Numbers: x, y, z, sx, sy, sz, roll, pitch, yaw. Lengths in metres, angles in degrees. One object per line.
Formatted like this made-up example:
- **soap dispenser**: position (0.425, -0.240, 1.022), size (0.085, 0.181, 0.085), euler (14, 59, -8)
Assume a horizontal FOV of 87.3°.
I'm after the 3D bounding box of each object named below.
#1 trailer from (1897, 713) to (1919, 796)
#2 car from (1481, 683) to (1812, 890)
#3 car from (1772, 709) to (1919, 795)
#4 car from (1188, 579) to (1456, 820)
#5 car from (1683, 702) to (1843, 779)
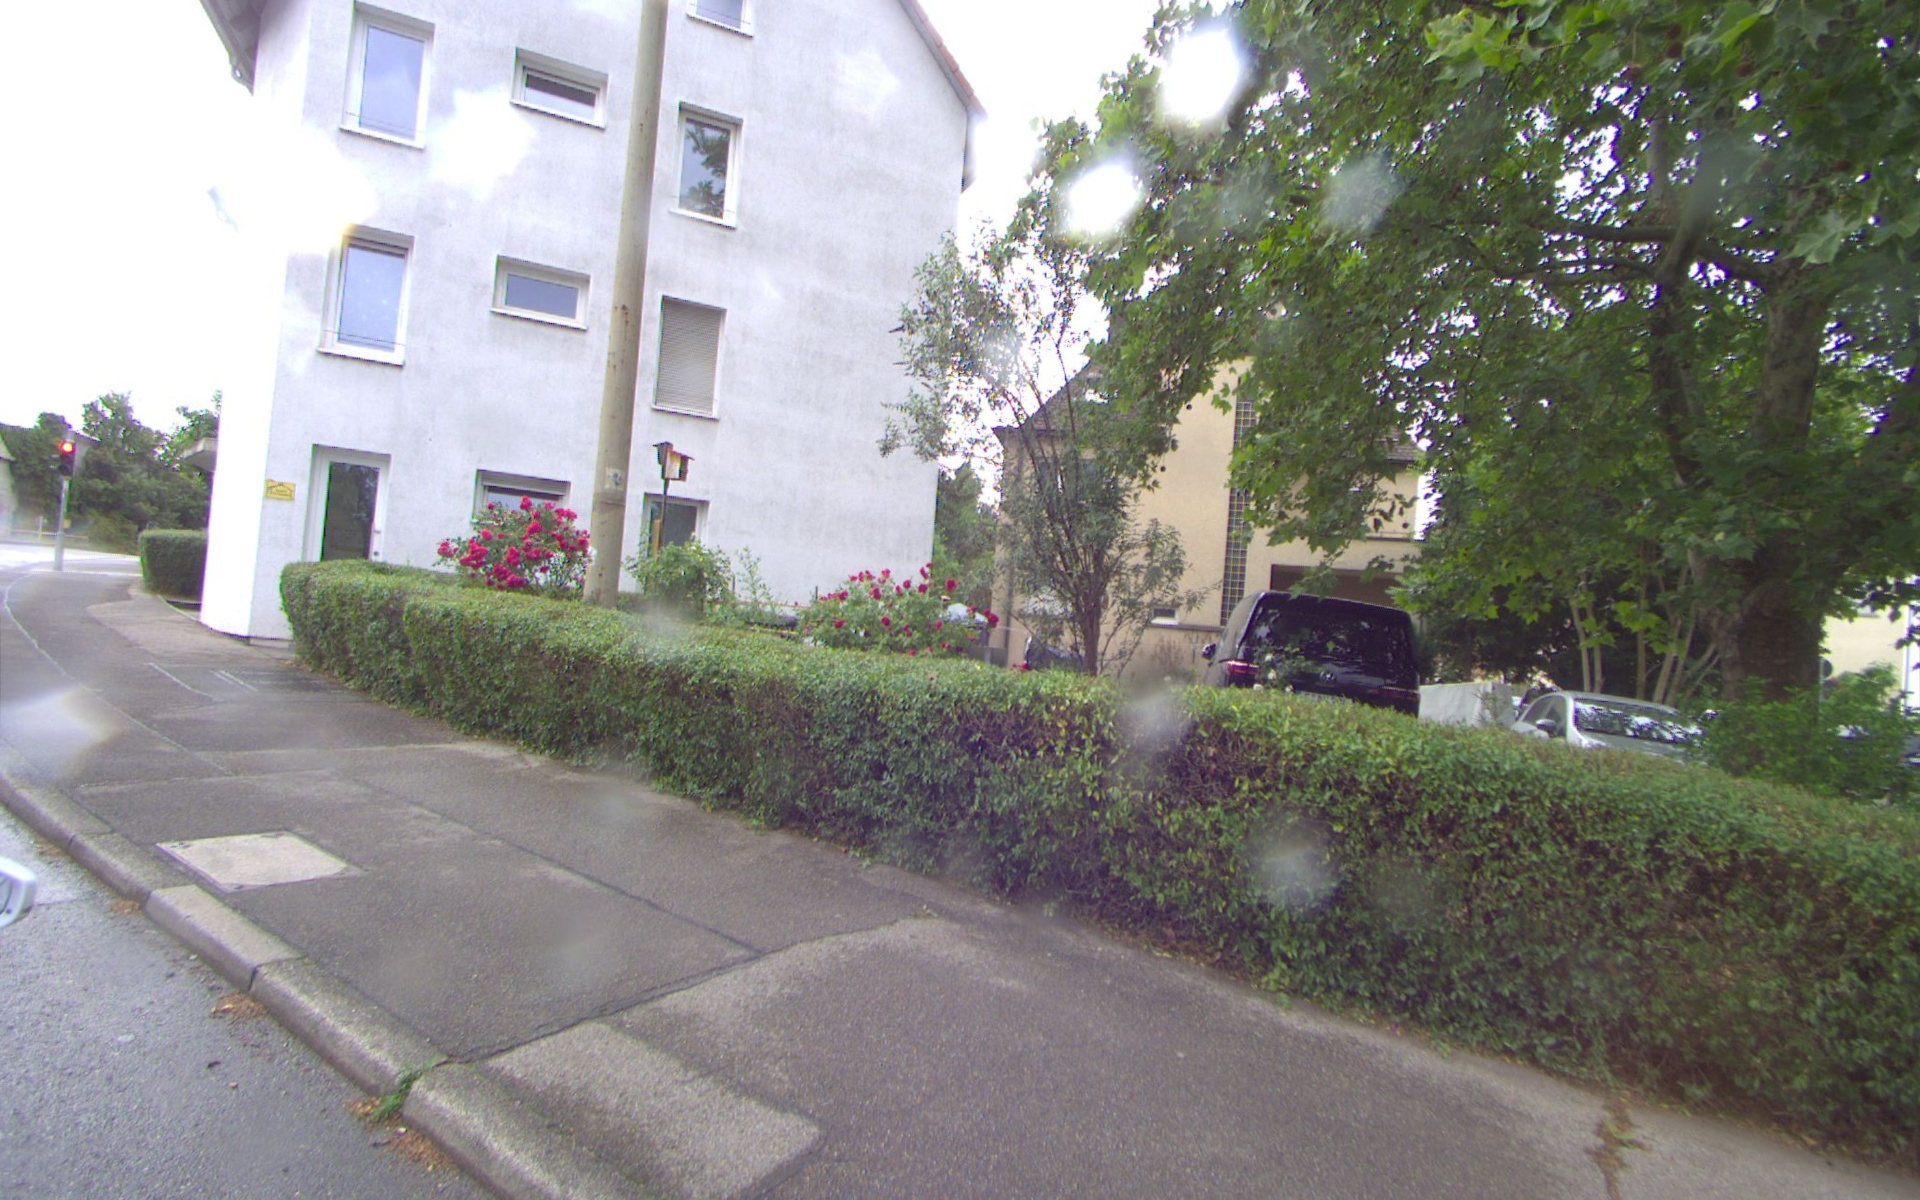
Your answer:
- **trailer**: position (24.714, 3.922, 23.970), size (1.640, 2.037, 3.494), euler (6, -1, 8)
- **car**: position (7.382, 1.880, 11.339), size (1.788, 1.599, 4.003), euler (6, -2, 16)
- **car**: position (25.257, 4.210, 27.984), size (1.962, 1.861, 4.584), euler (6, -2, 9)
- **car**: position (3.754, 0.992, 11.295), size (1.962, 1.955, 4.419), euler (6, -1, 11)
- **car**: position (26.340, 4.550, 33.229), size (1.962, 1.861, 4.584), euler (6, -2, 9)
